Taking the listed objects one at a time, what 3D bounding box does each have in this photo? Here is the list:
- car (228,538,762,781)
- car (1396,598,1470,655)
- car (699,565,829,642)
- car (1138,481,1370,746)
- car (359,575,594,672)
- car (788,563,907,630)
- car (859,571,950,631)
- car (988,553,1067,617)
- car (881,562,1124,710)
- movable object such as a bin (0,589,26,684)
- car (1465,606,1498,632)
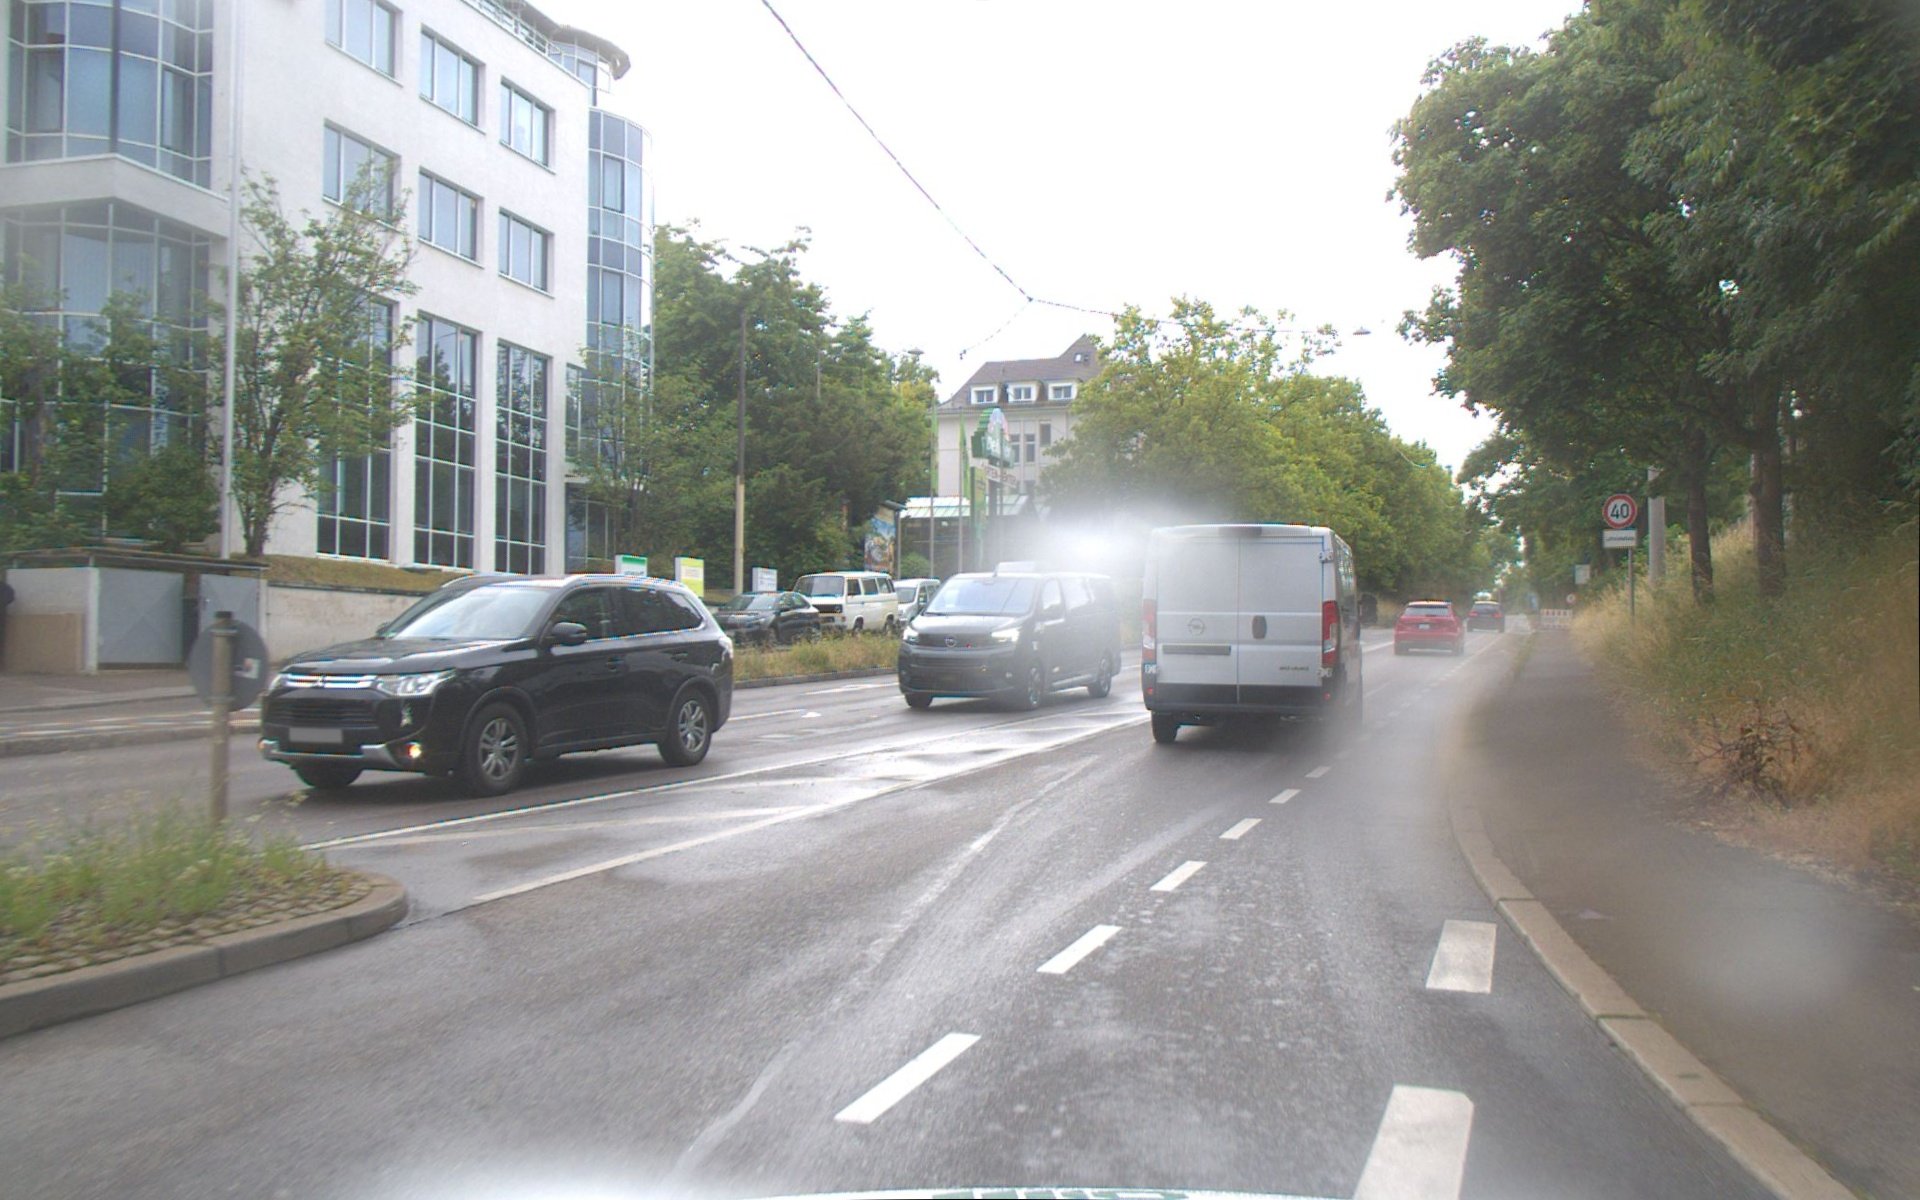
[{"bbox_3d":[-3.528,0.491,13.631,1.654,1.633,4.727,-1,-2,23],"label":"car"},{"bbox_3d":[12.866,0.741,44.880,1.658,1.451,3.368,1,-2,20],"label":"car"},{"bbox_3d":[-4.683,0.053,40.065,1.576,1.752,3.996,-1,1,18],"label":"car"},{"bbox_3d":[3.461,0.127,18.627,2.007,2.560,4.946,1,0,17],"label":"car"},{"bbox_3d":[-8.448,0.352,29.386,1.652,1.561,4.674,-1,1,18],"label":"car"},{"bbox_3d":[-3.080,-0.124,46.442,1.733,1.776,4.586,-1,1,18],"label":"car"},{"bbox_3d":[-1.662,0.000,50.552,1.558,1.725,3.783,-1,1,18],"label":"car"},{"bbox_3d":[2.817,-0.630,67.293,1.921,2.486,5.660,-1,1,16],"label":"car"},{"bbox_3d":[0.755,0.465,23.874,1.973,1.899,5.042,-1,0,20],"label":"car"},{"bbox_3d":[-15.215,0.546,25.312,1.161,1.430,1.099,1,1,16],"label":"movable object such as a bin"},{"bbox_3d":[24.380,0.882,77.304,1.316,1.159,2.289,-1,-2,21],"label":"car"}]
